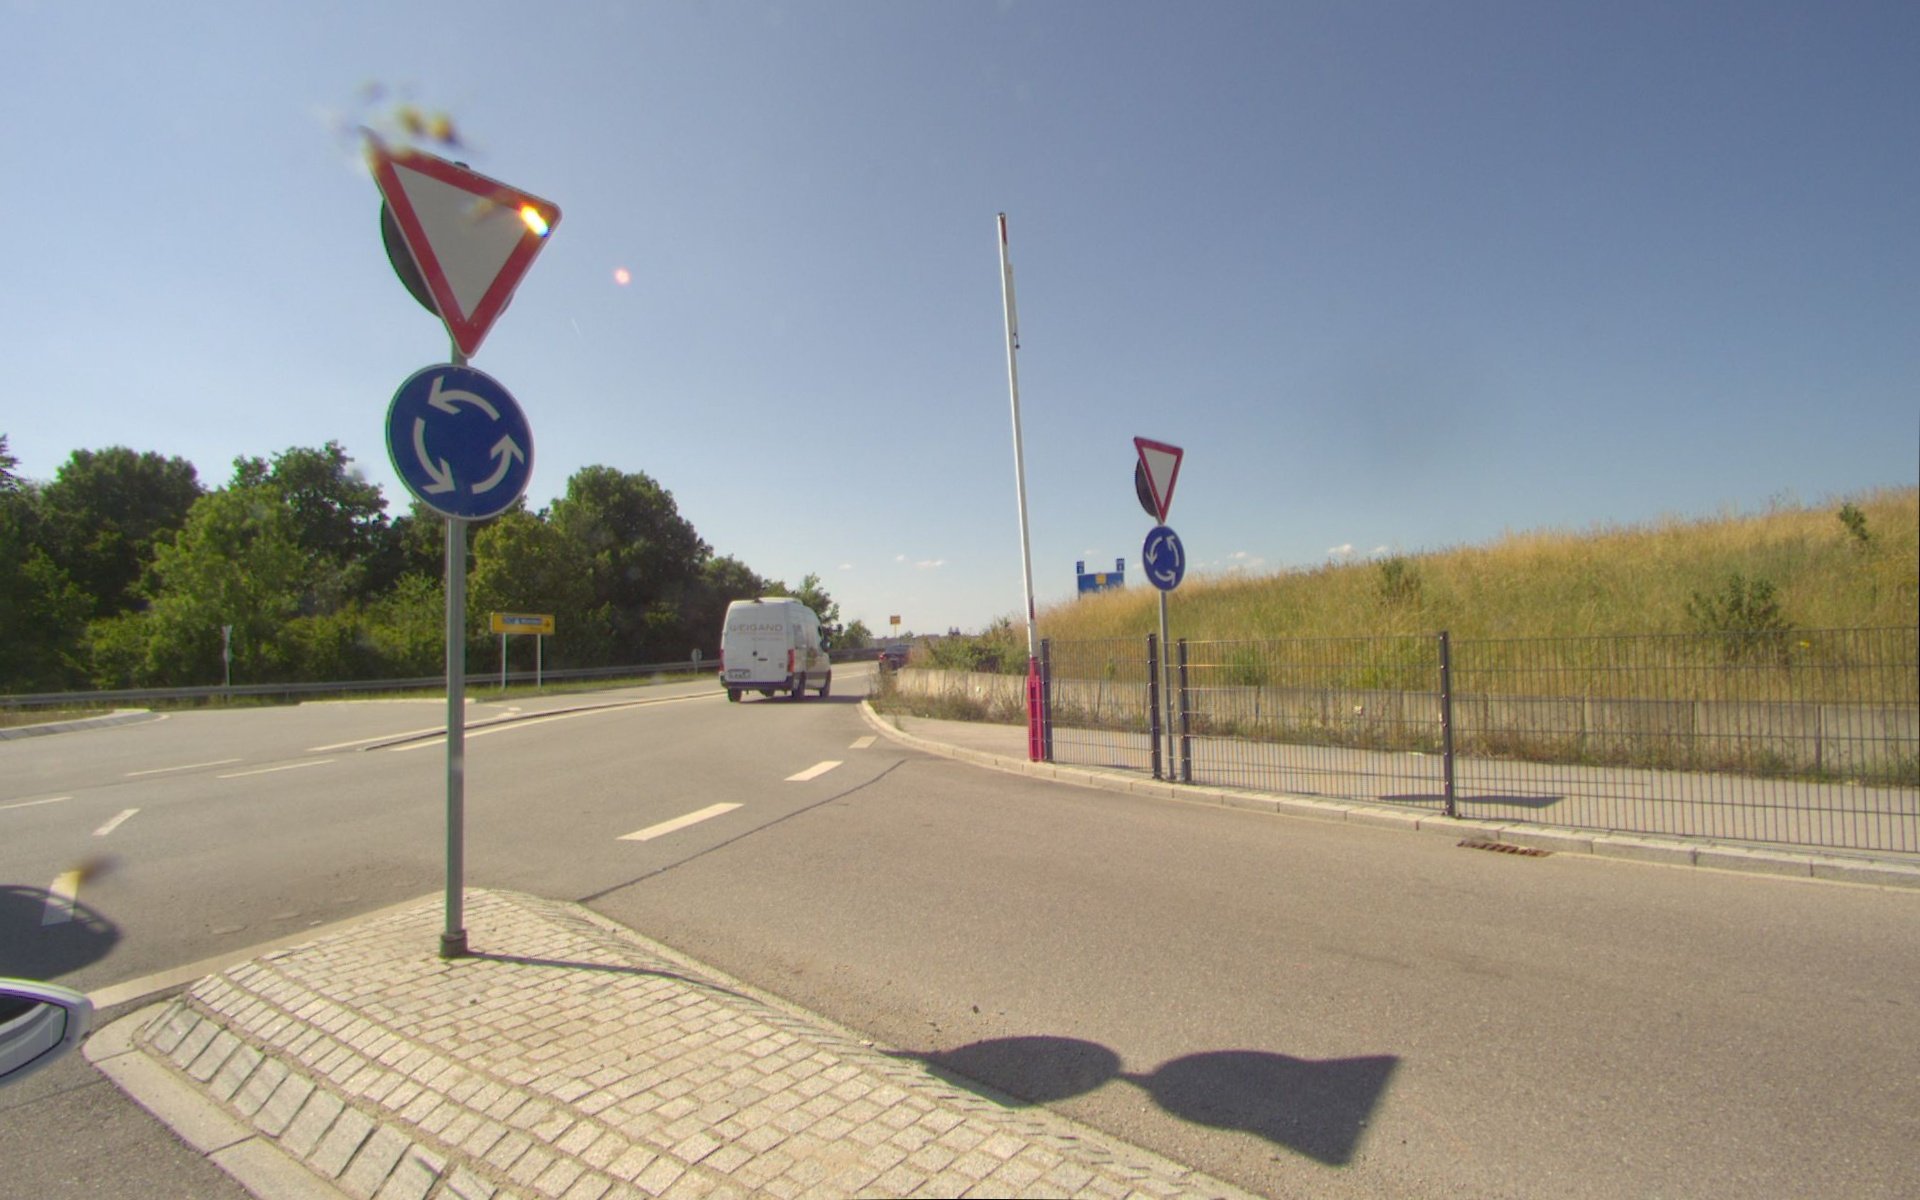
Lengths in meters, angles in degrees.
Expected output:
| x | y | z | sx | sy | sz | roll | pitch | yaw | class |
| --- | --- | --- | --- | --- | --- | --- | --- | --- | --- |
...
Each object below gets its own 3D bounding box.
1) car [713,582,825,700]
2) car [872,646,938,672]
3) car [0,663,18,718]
| x | y | z | sx | sy | sz | roll | pitch | yaw | class |
| --- | --- | --- | --- | --- | --- | --- | --- | --- | --- |
| -5.230 | 1.182 | 28.292 | 2.044 | 2.957 | 6.143 | 0 | -3 | -1 | car |
| -2.582 | 2.810 | 48.260 | 1.649 | 1.197 | 3.856 | -2 | -3 | 23 | car |
| -30.674 | 2.699 | 29.391 | 4.240 | 1.616 | 1.848 | 0 | -2 | -1 | car |
